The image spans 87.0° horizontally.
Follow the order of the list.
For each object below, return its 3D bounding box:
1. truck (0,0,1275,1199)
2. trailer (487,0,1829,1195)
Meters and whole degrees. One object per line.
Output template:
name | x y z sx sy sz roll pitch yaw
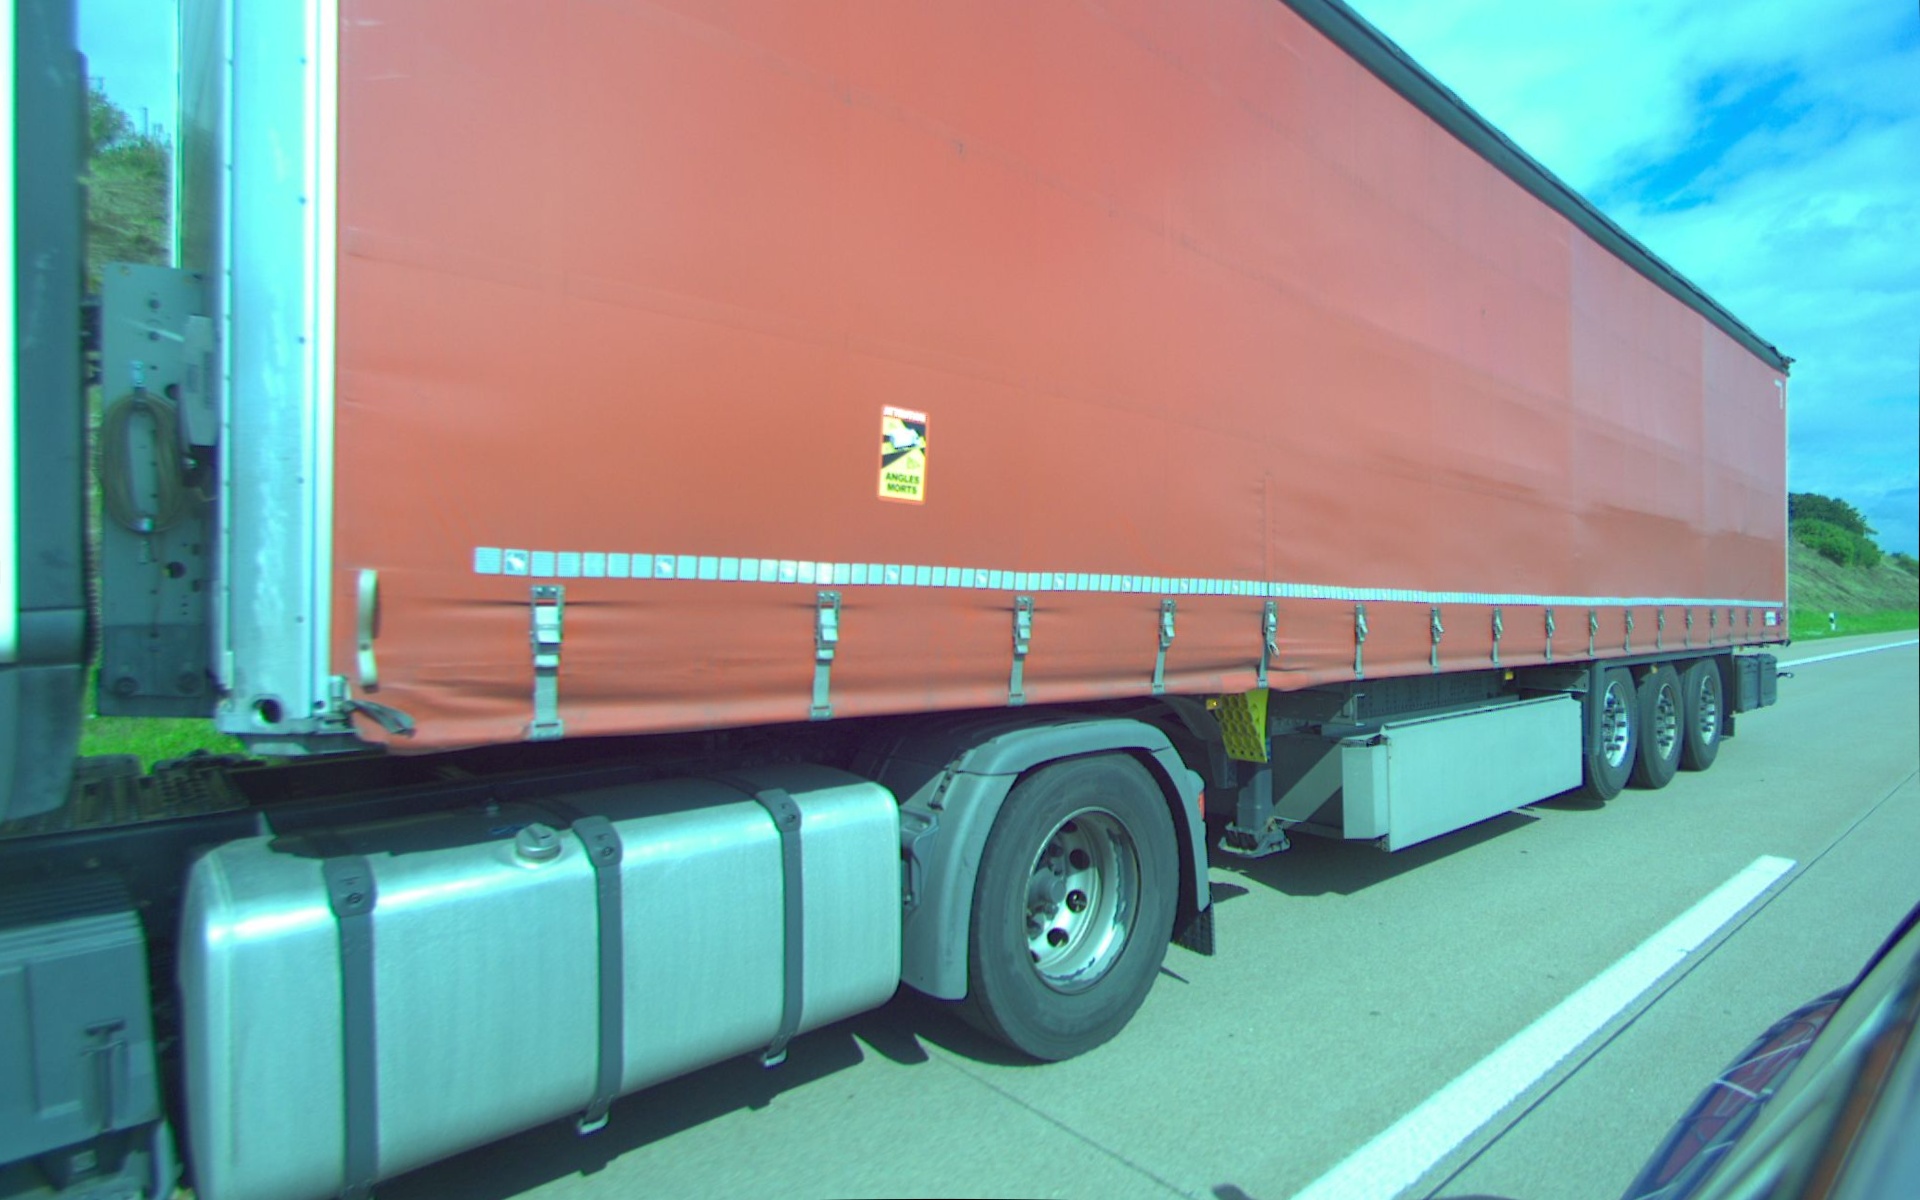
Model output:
truck | -2.163 -0.648 2.623 6.500 4.157 2.679 0 1 -41
trailer | 3.527 -0.710 7.556 12.565 4.145 2.677 0 1 -41
